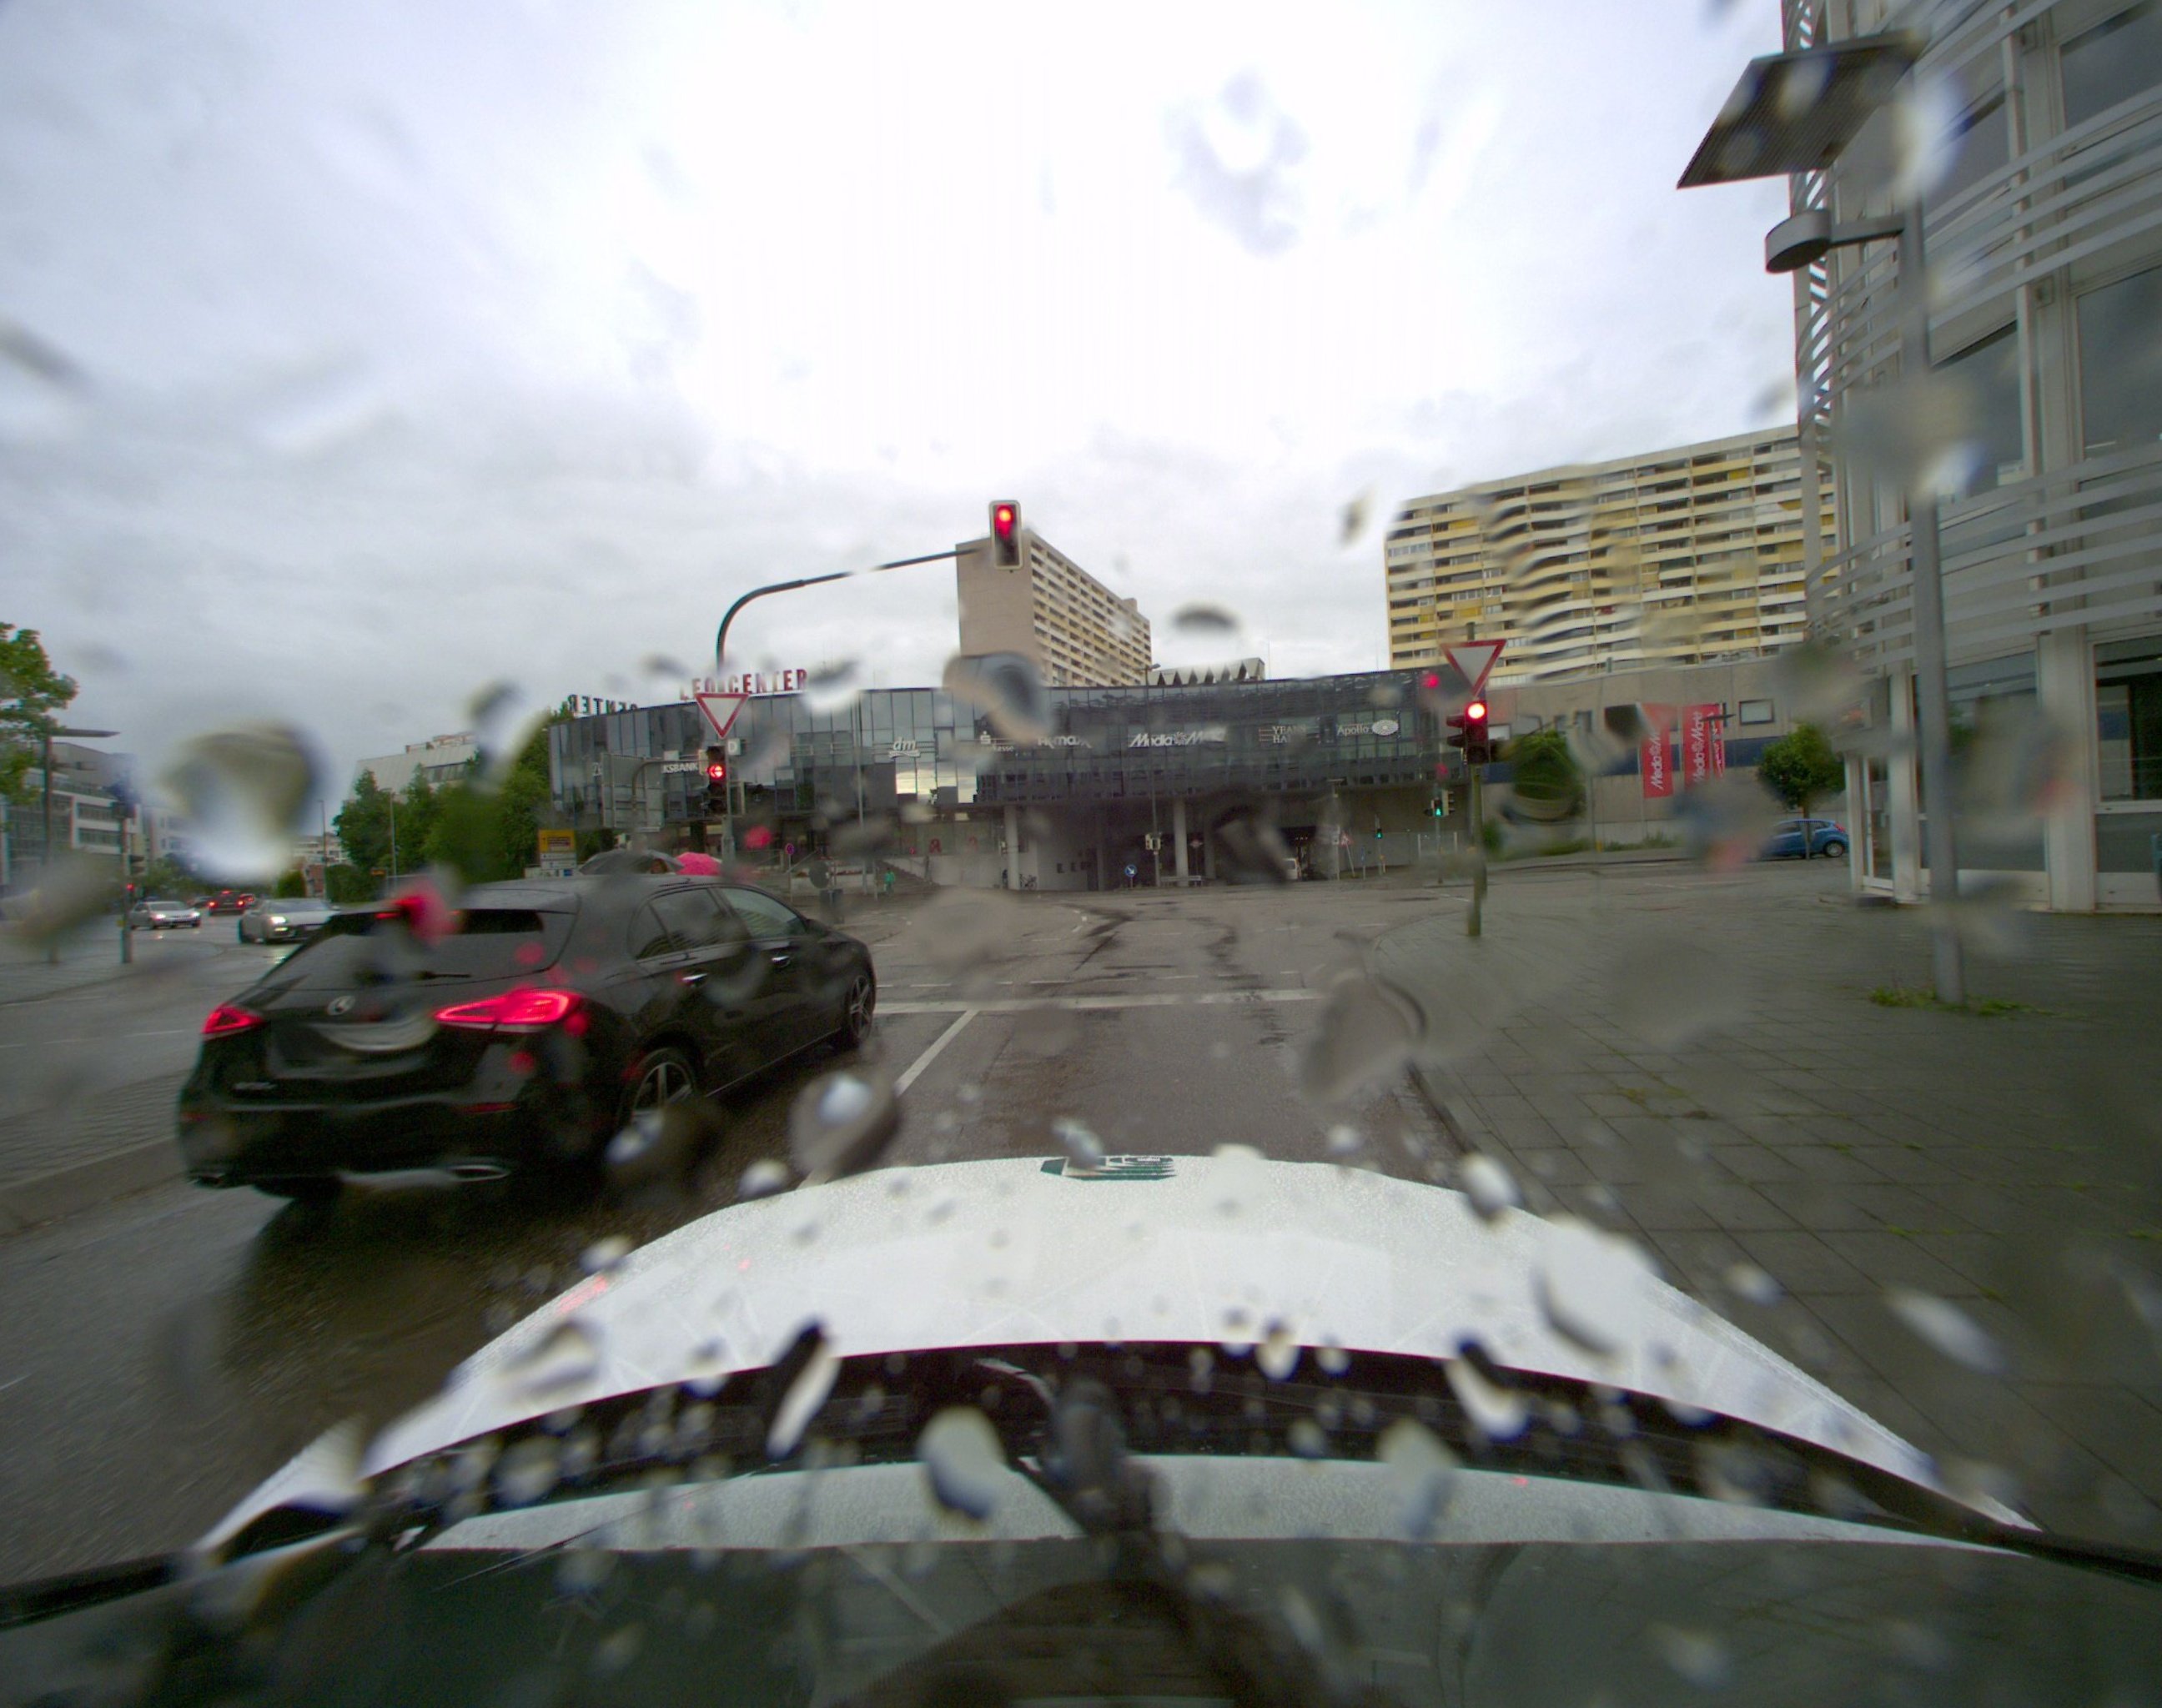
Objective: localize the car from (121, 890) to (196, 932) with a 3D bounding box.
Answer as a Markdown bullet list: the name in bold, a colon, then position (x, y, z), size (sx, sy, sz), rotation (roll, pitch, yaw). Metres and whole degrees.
- **car**: position (-49.500, 3.042, 43.701), size (3.948, 2.013, 2.013), rotation (-3, 0, 32)

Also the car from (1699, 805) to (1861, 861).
- **car**: position (25.288, -0.736, 29.626), size (3.956, 1.717, 2.009), rotation (-3, 0, 16)

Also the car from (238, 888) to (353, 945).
- **car**: position (-26.148, 2.001, 27.066), size (4.376, 1.512, 2.013), rotation (1, 0, 36)

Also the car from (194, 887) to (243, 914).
- **car**: position (-71.255, 3.814, 67.295), size (3.948, 2.013, 2.013), rotation (-3, 0, 32)

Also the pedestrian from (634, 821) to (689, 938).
- **pedestrian**: position (-6.162, 0.361, 11.990), size (0.612, 1.659, 0.667), rotation (1, 0, -21)

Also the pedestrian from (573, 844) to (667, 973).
- **pedestrian**: position (-6.259, 0.705, 11.056), size (0.917, 1.659, 0.746), rotation (2, 0, -44)

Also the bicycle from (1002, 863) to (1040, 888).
- **bicycle**: position (-3.974, 1.404, 53.860), size (2.431, 1.464, 0.652), rotation (-2, 1, -18)

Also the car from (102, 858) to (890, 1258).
- **car**: position (-2.730, 0.801, 5.111), size (1.796, 1.419, 4.005), rotation (-3, 0, 4)

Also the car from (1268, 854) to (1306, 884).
- **car**: position (13.251, 0.914, 52.261), size (1.977, 1.717, 4.020), rotation (-3, 0, 19)

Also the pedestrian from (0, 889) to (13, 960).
- **pedestrian**: position (-32.388, 2.082, 23.970), size (0.952, 2.013, 1.034), rotation (1, 0, 43)

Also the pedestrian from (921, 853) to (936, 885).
- **pedestrian**: position (-9.925, 0.966, 52.973), size (0.786, 2.013, 0.669), rotation (-3, 0, -6)
